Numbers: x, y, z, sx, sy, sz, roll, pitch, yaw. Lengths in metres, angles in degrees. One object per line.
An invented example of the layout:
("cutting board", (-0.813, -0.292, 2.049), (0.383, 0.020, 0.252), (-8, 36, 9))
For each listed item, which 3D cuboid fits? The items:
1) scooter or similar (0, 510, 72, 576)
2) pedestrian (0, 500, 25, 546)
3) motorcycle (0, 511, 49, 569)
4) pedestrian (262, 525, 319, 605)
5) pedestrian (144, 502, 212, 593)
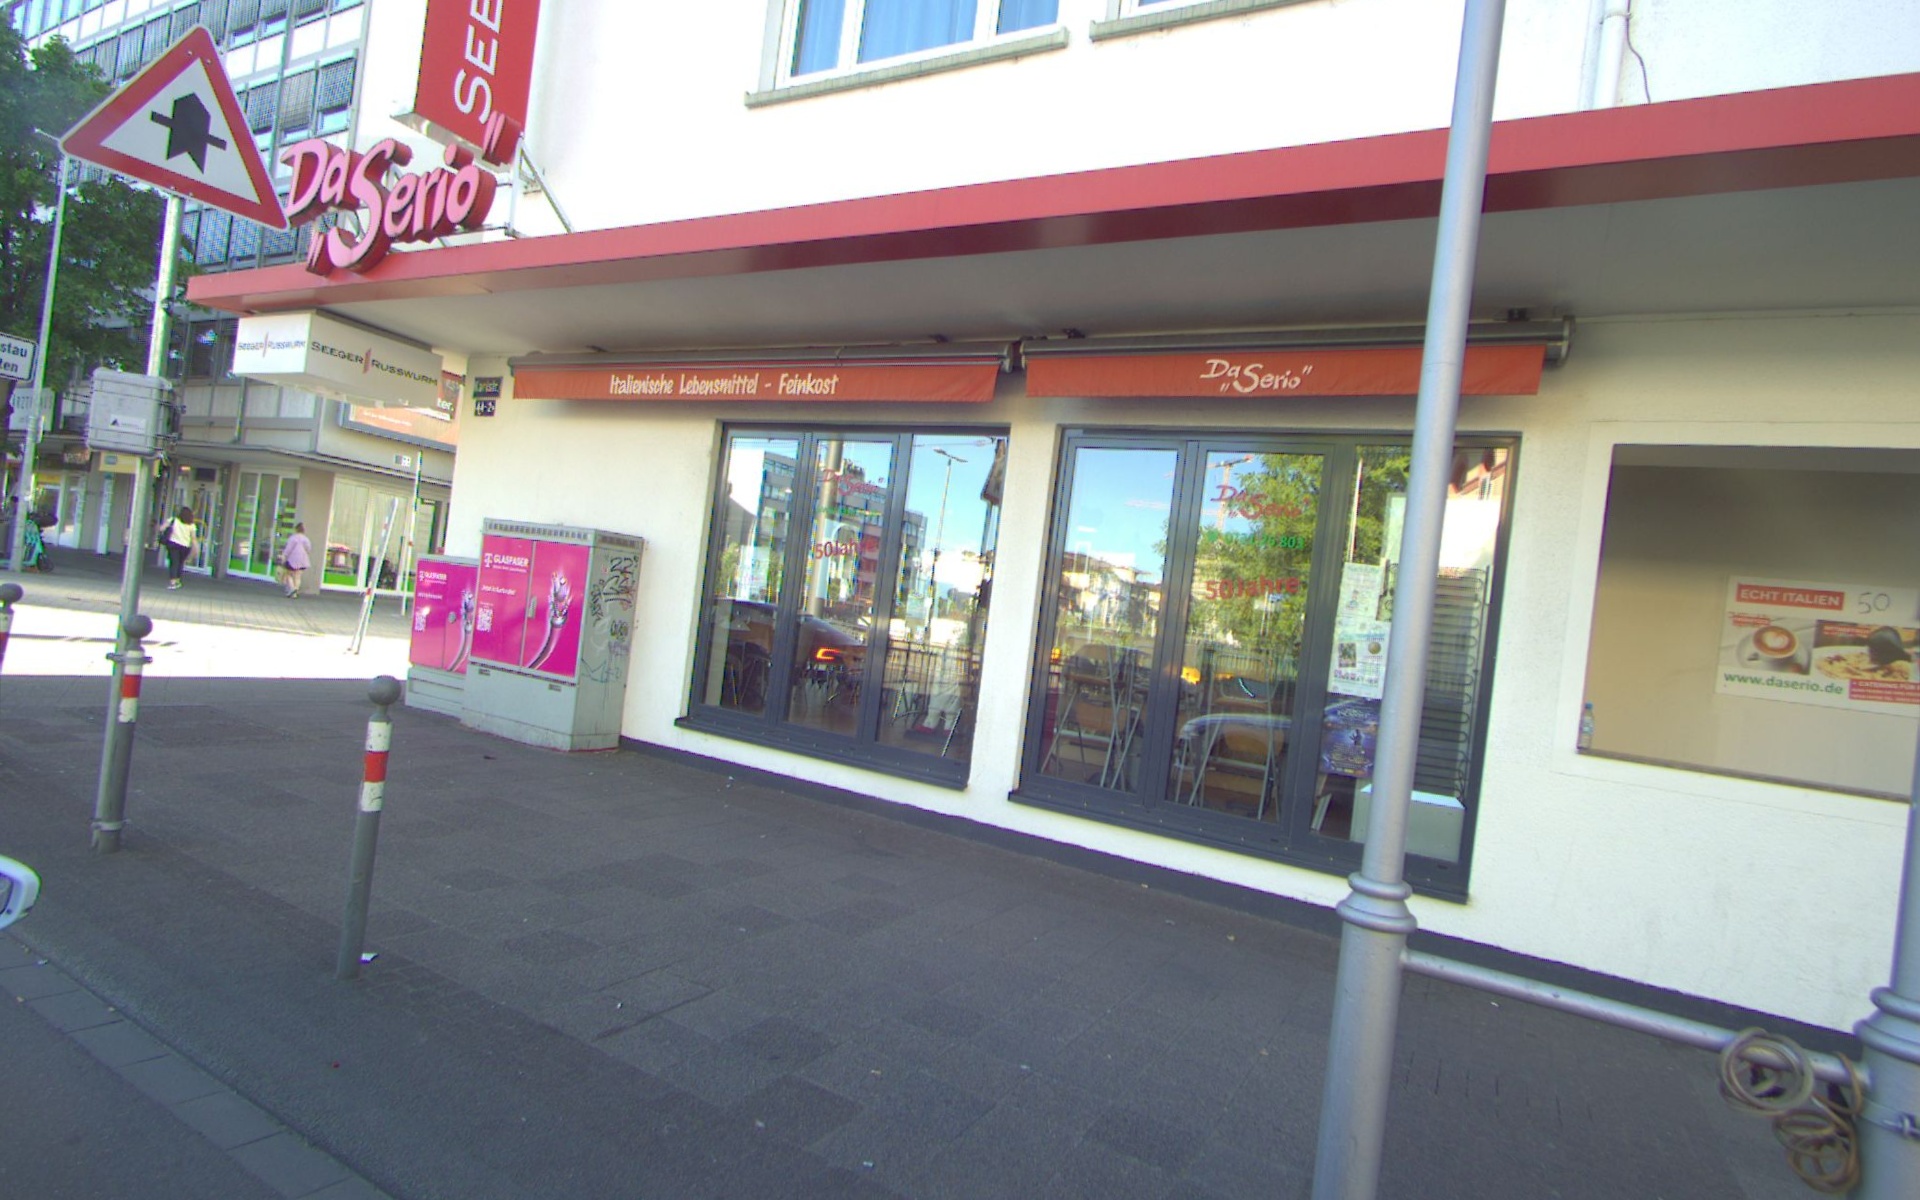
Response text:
("scooter or similar", (-19.934, -1.232, 21.176), (1.628, 1.229, 0.640), (8, -1, -29))
("pedestrian", (-29.327, -2.389, 31.104), (0.504, 1.359, 0.390), (6, -1, 34))
("motorcycle", (-21.563, -1.410, 22.405), (0.532, 1.186, 1.711), (7, -2, 30))
("pedestrian", (-15.327, -0.806, 23.039), (0.884, 1.687, 0.801), (8, -1, -35))
("pedestrian", (-16.557, -1.106, 21.322), (0.909, 1.773, 1.029), (7, 0, -35))
